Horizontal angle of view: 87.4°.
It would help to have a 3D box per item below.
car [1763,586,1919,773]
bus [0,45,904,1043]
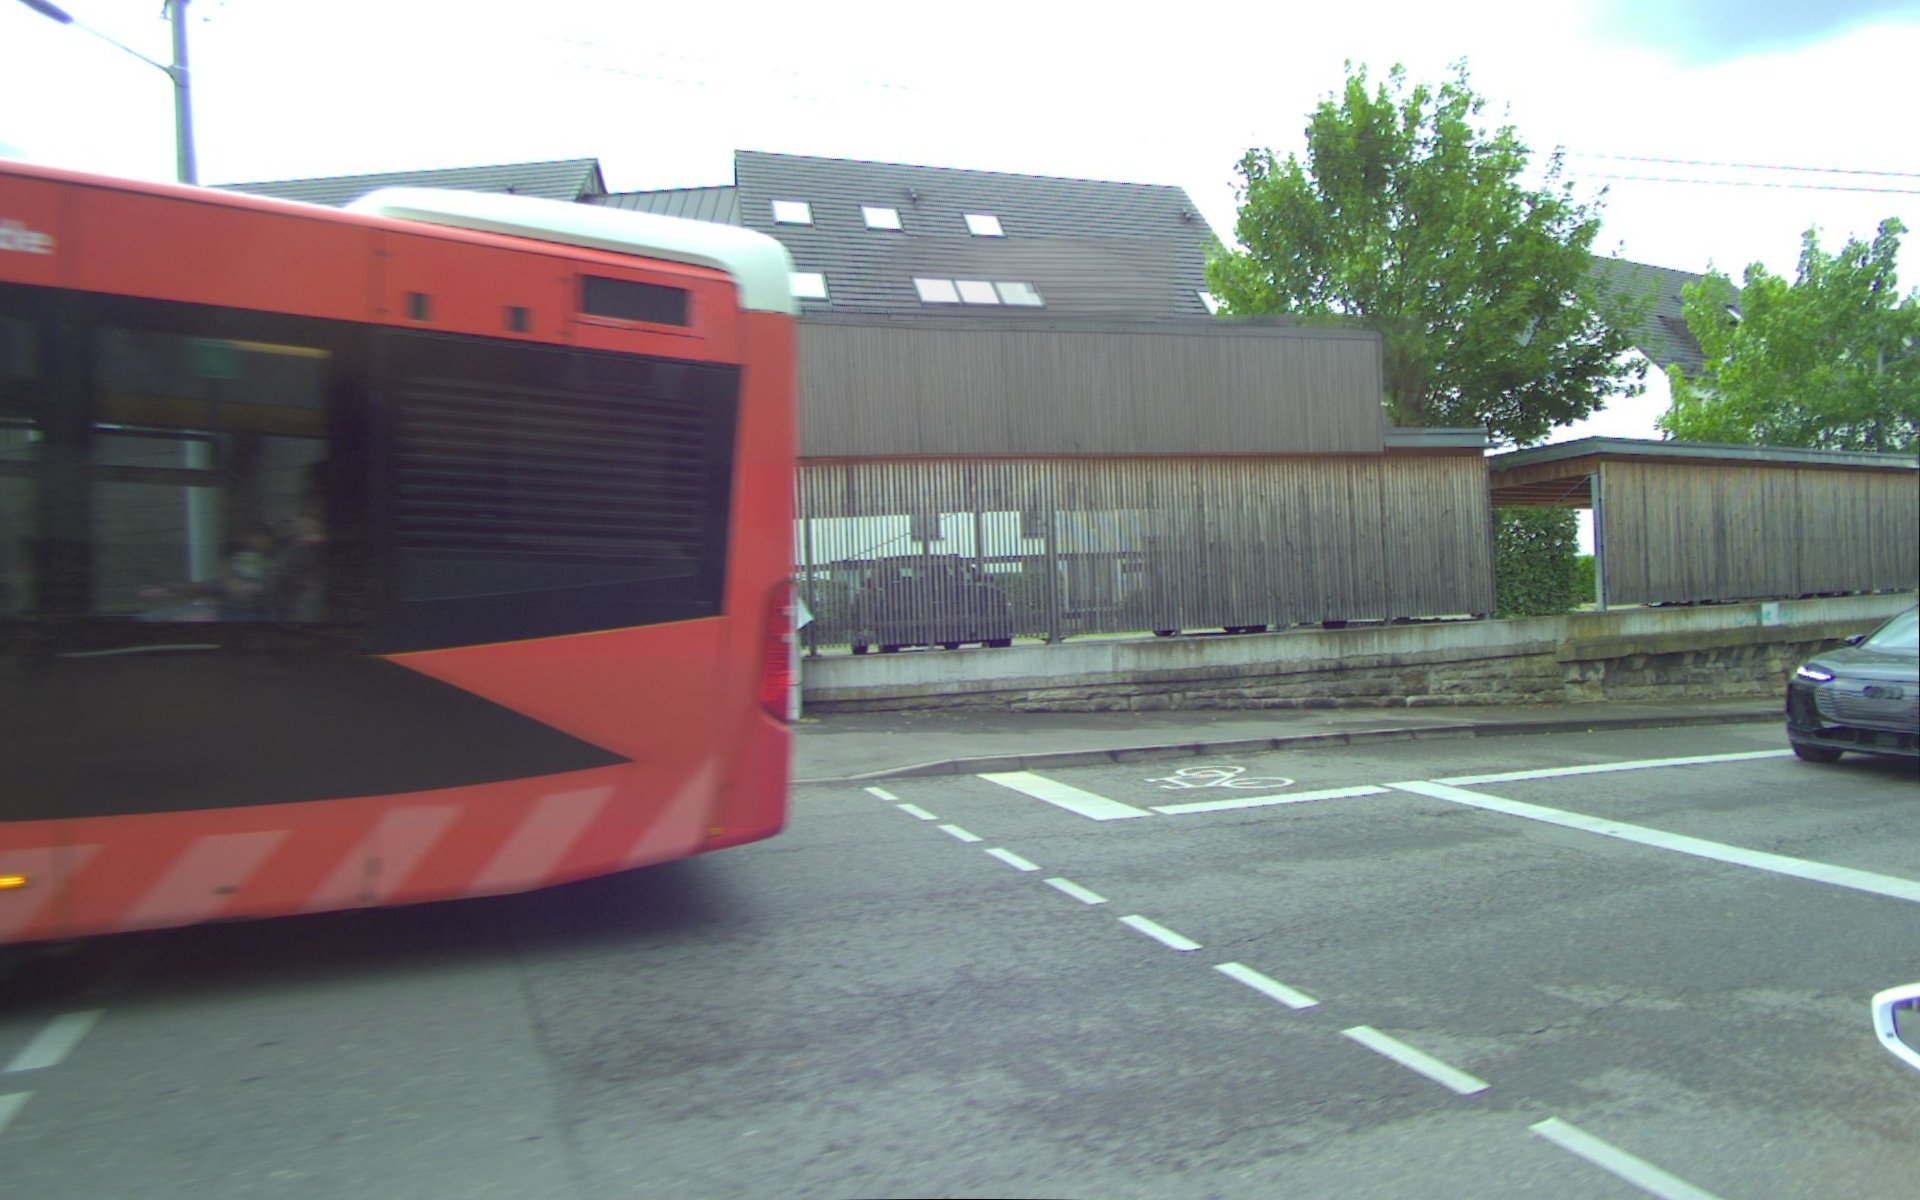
[{"bbox_3d":[10.348,0.758,10.080,4.465,1.652,1.915,2,-1,-27],"label":"car"},{"bbox_3d":[-4.516,-0.194,3.962,8.179,3.163,2.650,1,0,-25],"label":"bus"}]
